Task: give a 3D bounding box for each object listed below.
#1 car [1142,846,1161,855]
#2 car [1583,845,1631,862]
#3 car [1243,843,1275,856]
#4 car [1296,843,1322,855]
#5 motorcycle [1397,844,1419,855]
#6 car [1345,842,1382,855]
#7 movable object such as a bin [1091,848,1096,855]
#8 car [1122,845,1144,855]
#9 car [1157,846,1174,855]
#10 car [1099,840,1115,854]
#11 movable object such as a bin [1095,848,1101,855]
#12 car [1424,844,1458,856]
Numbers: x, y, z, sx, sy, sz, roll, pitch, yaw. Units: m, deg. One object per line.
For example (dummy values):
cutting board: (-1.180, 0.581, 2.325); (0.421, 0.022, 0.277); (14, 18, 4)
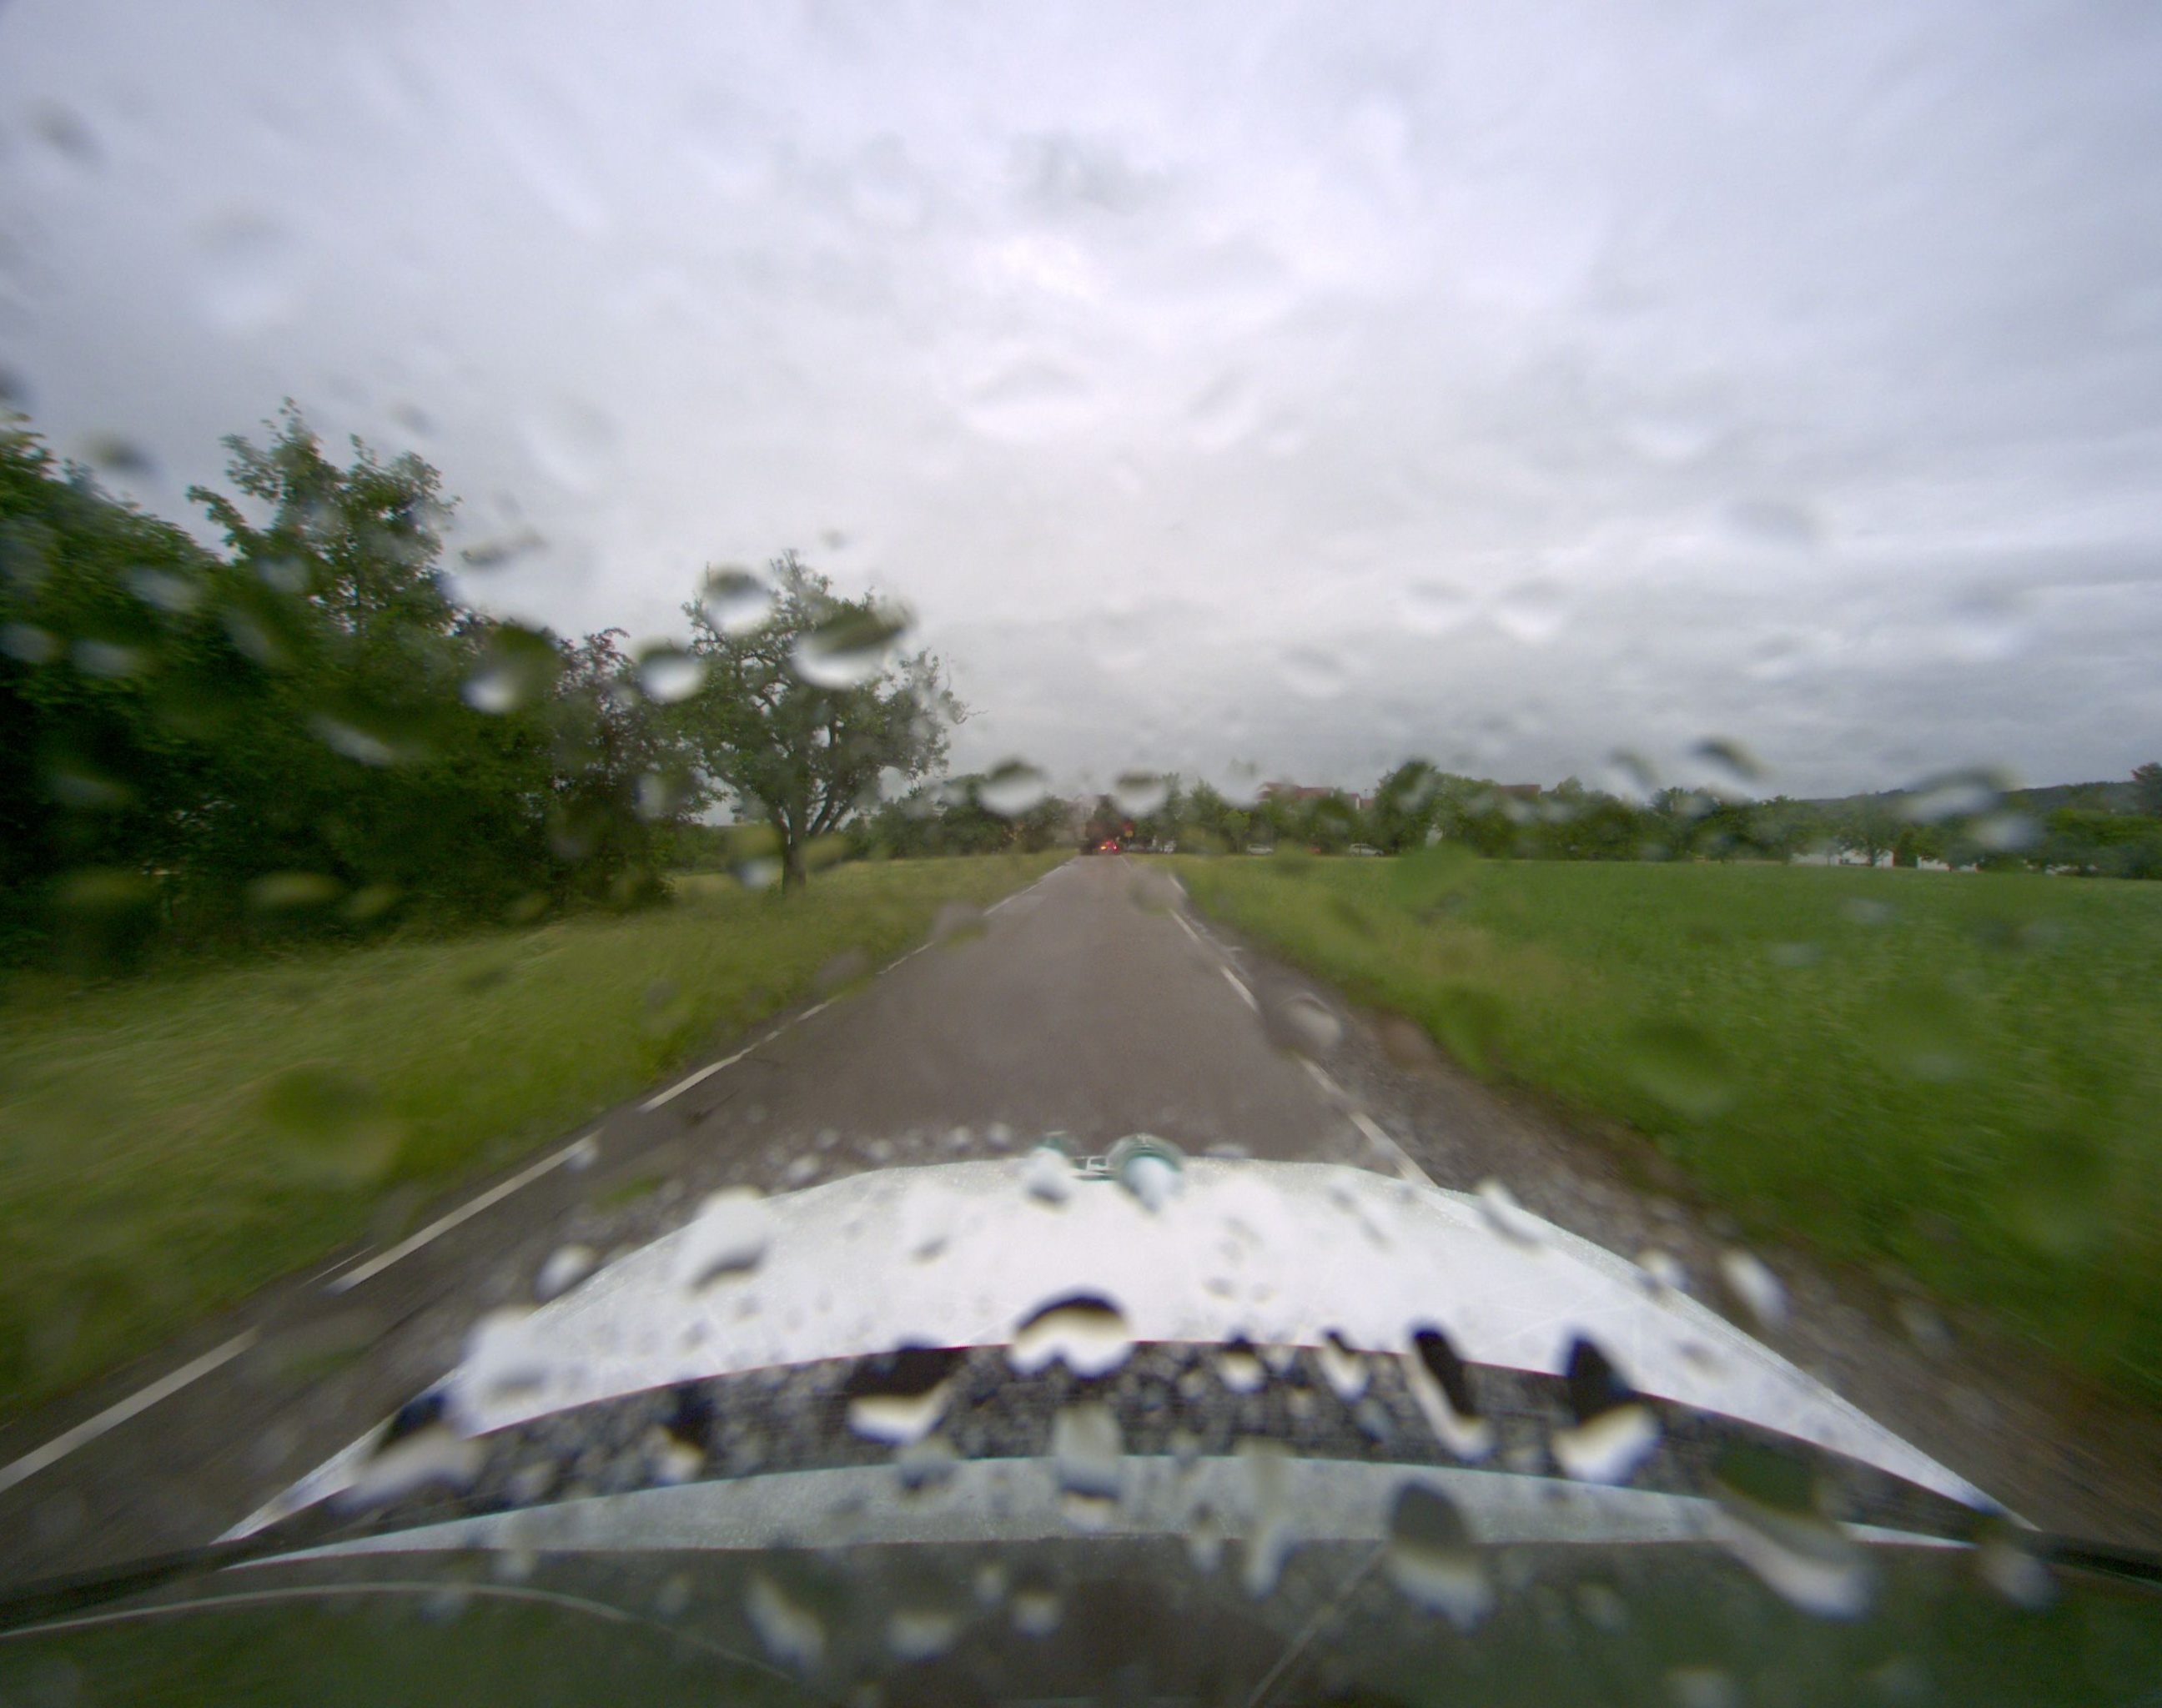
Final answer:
car: (11.572, -0.508, 132.754); (1.619, 1.409, 3.627); (2, 1, 32)
car: (57.896, -0.091, 89.670); (3.961, 1.607, 1.968); (3, 1, 11)
car: (21.531, -0.561, 98.382); (3.513, 1.479, 1.688); (-1, -1, 19)
car: (27.113, -0.610, 96.807); (2.977, 1.436, 1.561); (0, 0, 19)
motorcycle: (37.554, -0.505, 93.549); (2.242, 1.302, 0.975); (1, 1, 13)
car: (33.024, -0.654, 95.216); (3.949, 1.552, 1.859); (1, 0, 14)
movable object such as a bin: (1.782, -0.373, 116.699); (0.659, 1.073, 0.547); (-1, 0, 23)
car: (8.196, -0.570, 127.731); (1.758, 1.518, 4.163); (2, 1, 30)
car: (14.305, -0.625, 137.237); (1.496, 1.476, 3.294); (2, 1, 33)
car: (2.944, -0.753, 93.530); (1.682, 1.552, 3.695); (0, -1, -1)
movable object such as a bin: (2.485, -0.377, 116.411); (0.688, 1.075, 0.605); (-1, 0, 22)
car: (41.160, -0.459, 93.062); (3.294, 1.281, 1.740); (0, 0, 13)
